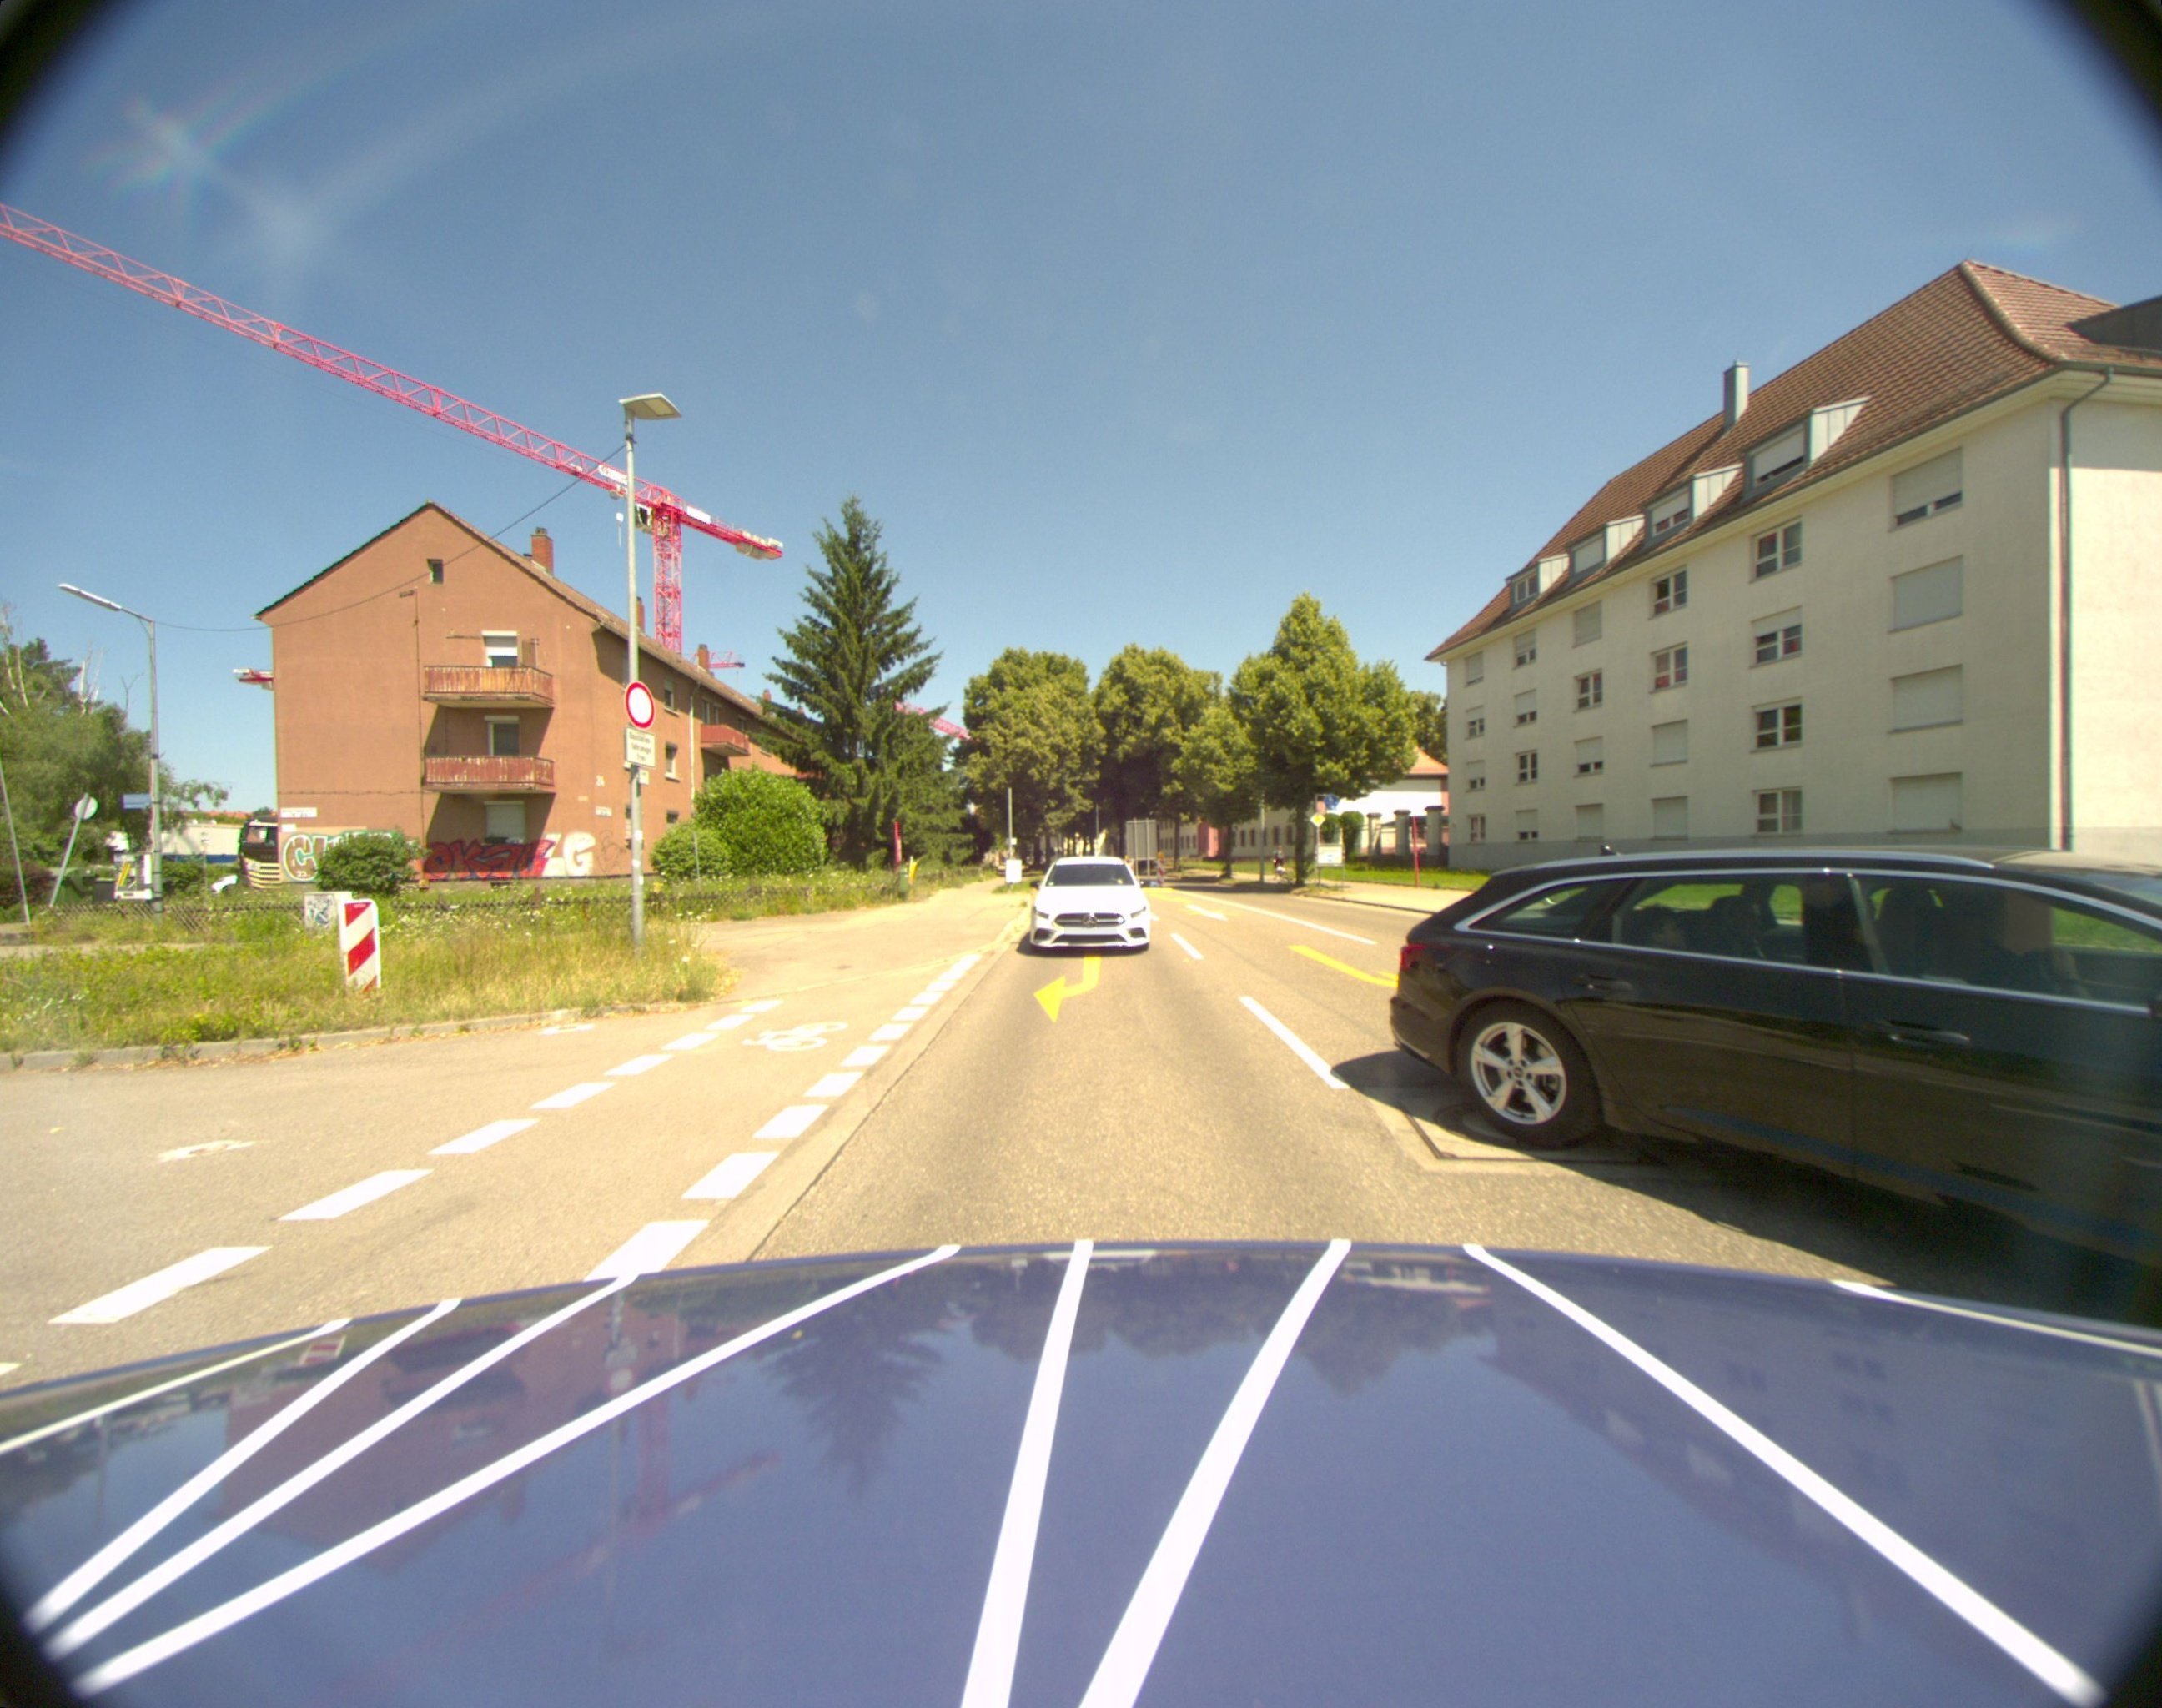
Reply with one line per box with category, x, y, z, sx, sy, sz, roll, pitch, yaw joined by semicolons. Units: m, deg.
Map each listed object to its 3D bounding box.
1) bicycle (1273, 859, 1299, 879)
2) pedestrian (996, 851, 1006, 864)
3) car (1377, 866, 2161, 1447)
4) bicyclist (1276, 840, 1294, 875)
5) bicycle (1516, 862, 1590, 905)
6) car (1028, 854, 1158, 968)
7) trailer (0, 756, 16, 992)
bicycle;9.616;0.696;35.736;0.562;0.910;1.907;-1;0;-5
pedestrian;-9.563;0.400;90.760;1.024;1.509;0.682;-1;1;1
car;3.500;0.802;2.605;1.804;1.443;4.609;-2;0;-25
bicyclist;9.595;0.154;35.796;0.568;1.601;0.740;-1;1;-5
bicycle;12.603;0.763;20.372;0.709;1.018;1.985;-4;1;0
car;0.038;0.800;12.684;1.781;1.536;3.961;-2;0;-4
trailer;-20.789;0.383;11.309;8.973;3.512;3.169;-1;0;19
